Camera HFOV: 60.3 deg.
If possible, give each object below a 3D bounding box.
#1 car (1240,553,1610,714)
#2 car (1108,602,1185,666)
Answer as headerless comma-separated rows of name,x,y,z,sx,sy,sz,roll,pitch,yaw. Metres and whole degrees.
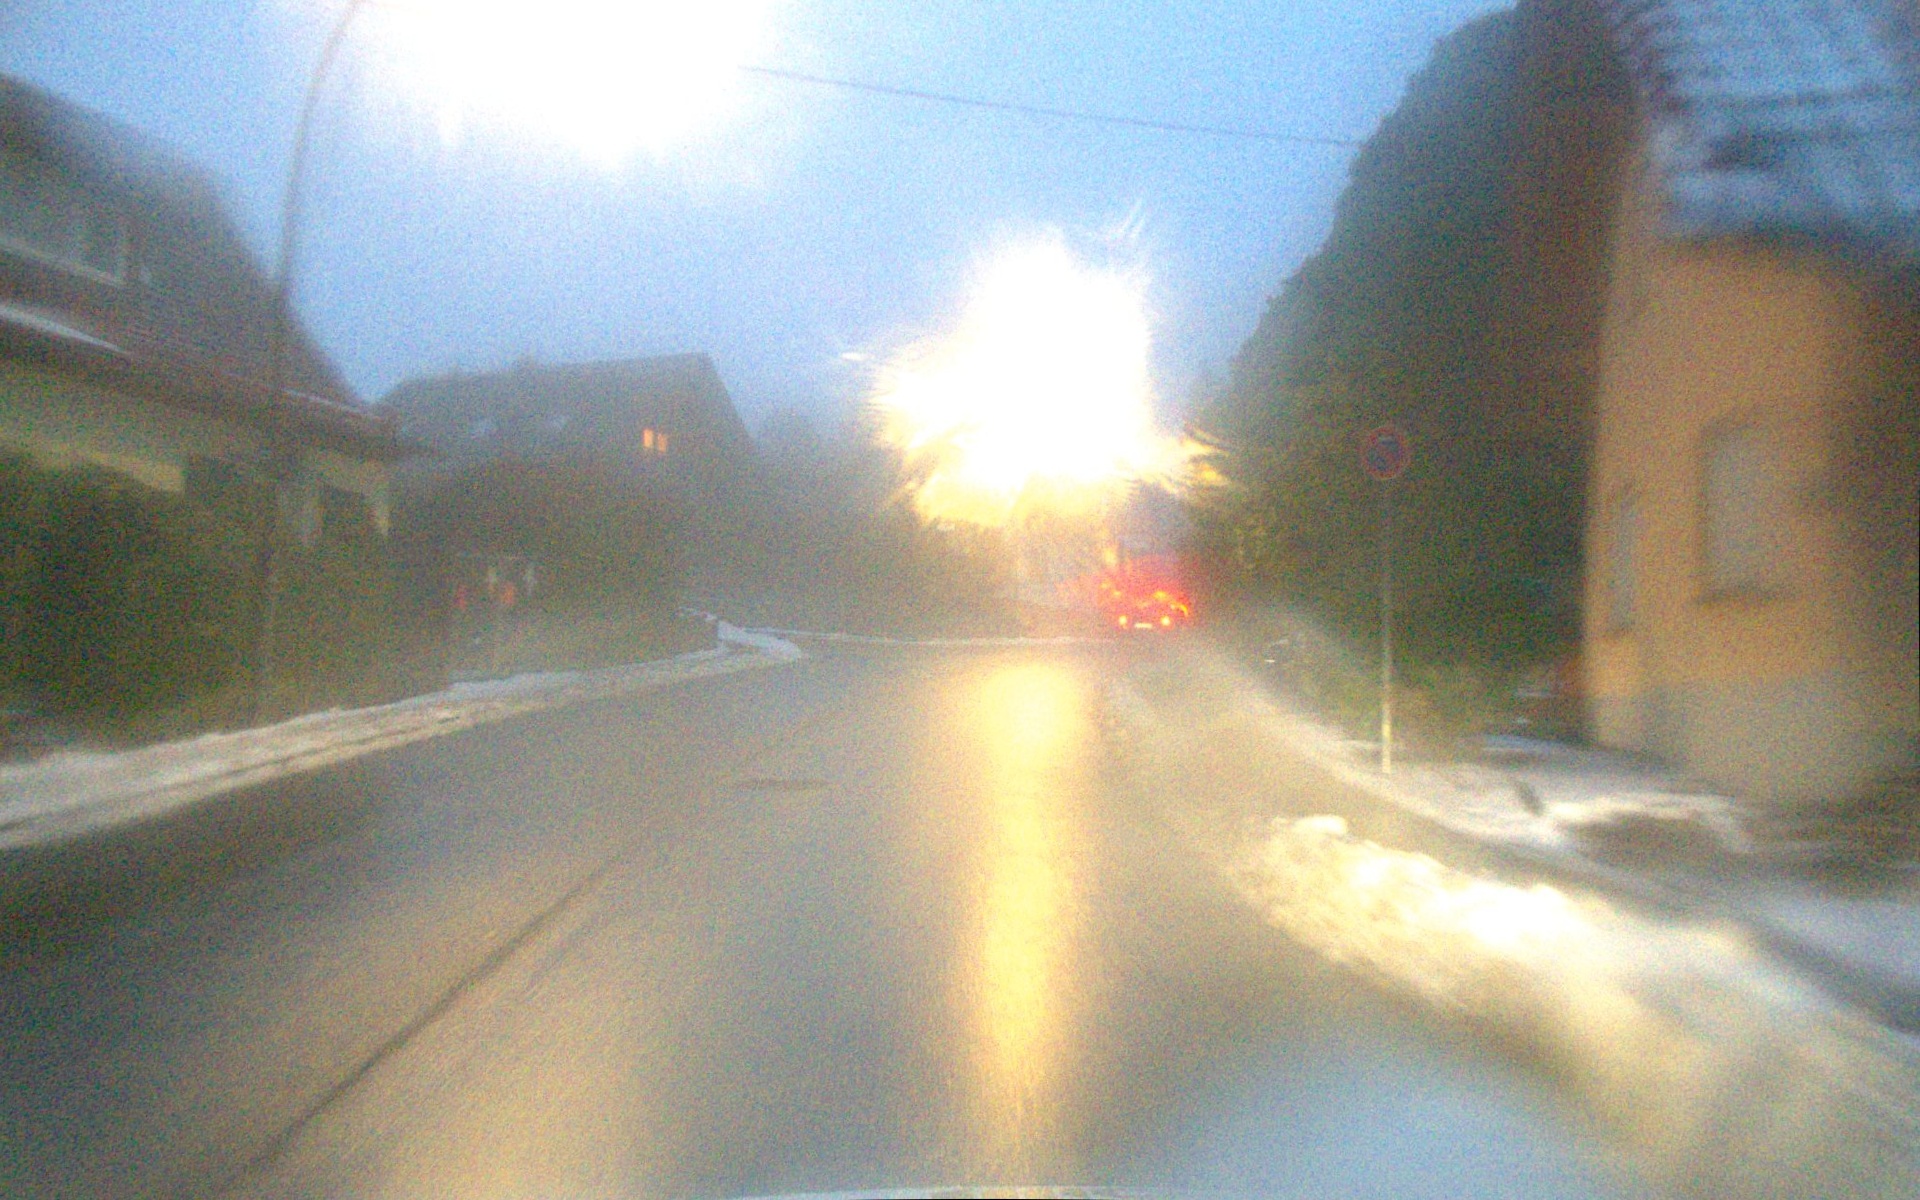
car,5.506,0.412,19.965,3.905,1.720,1.844,-2,-2,0
car,5.652,1.055,49.864,1.951,1.767,3.881,-2,-3,11
